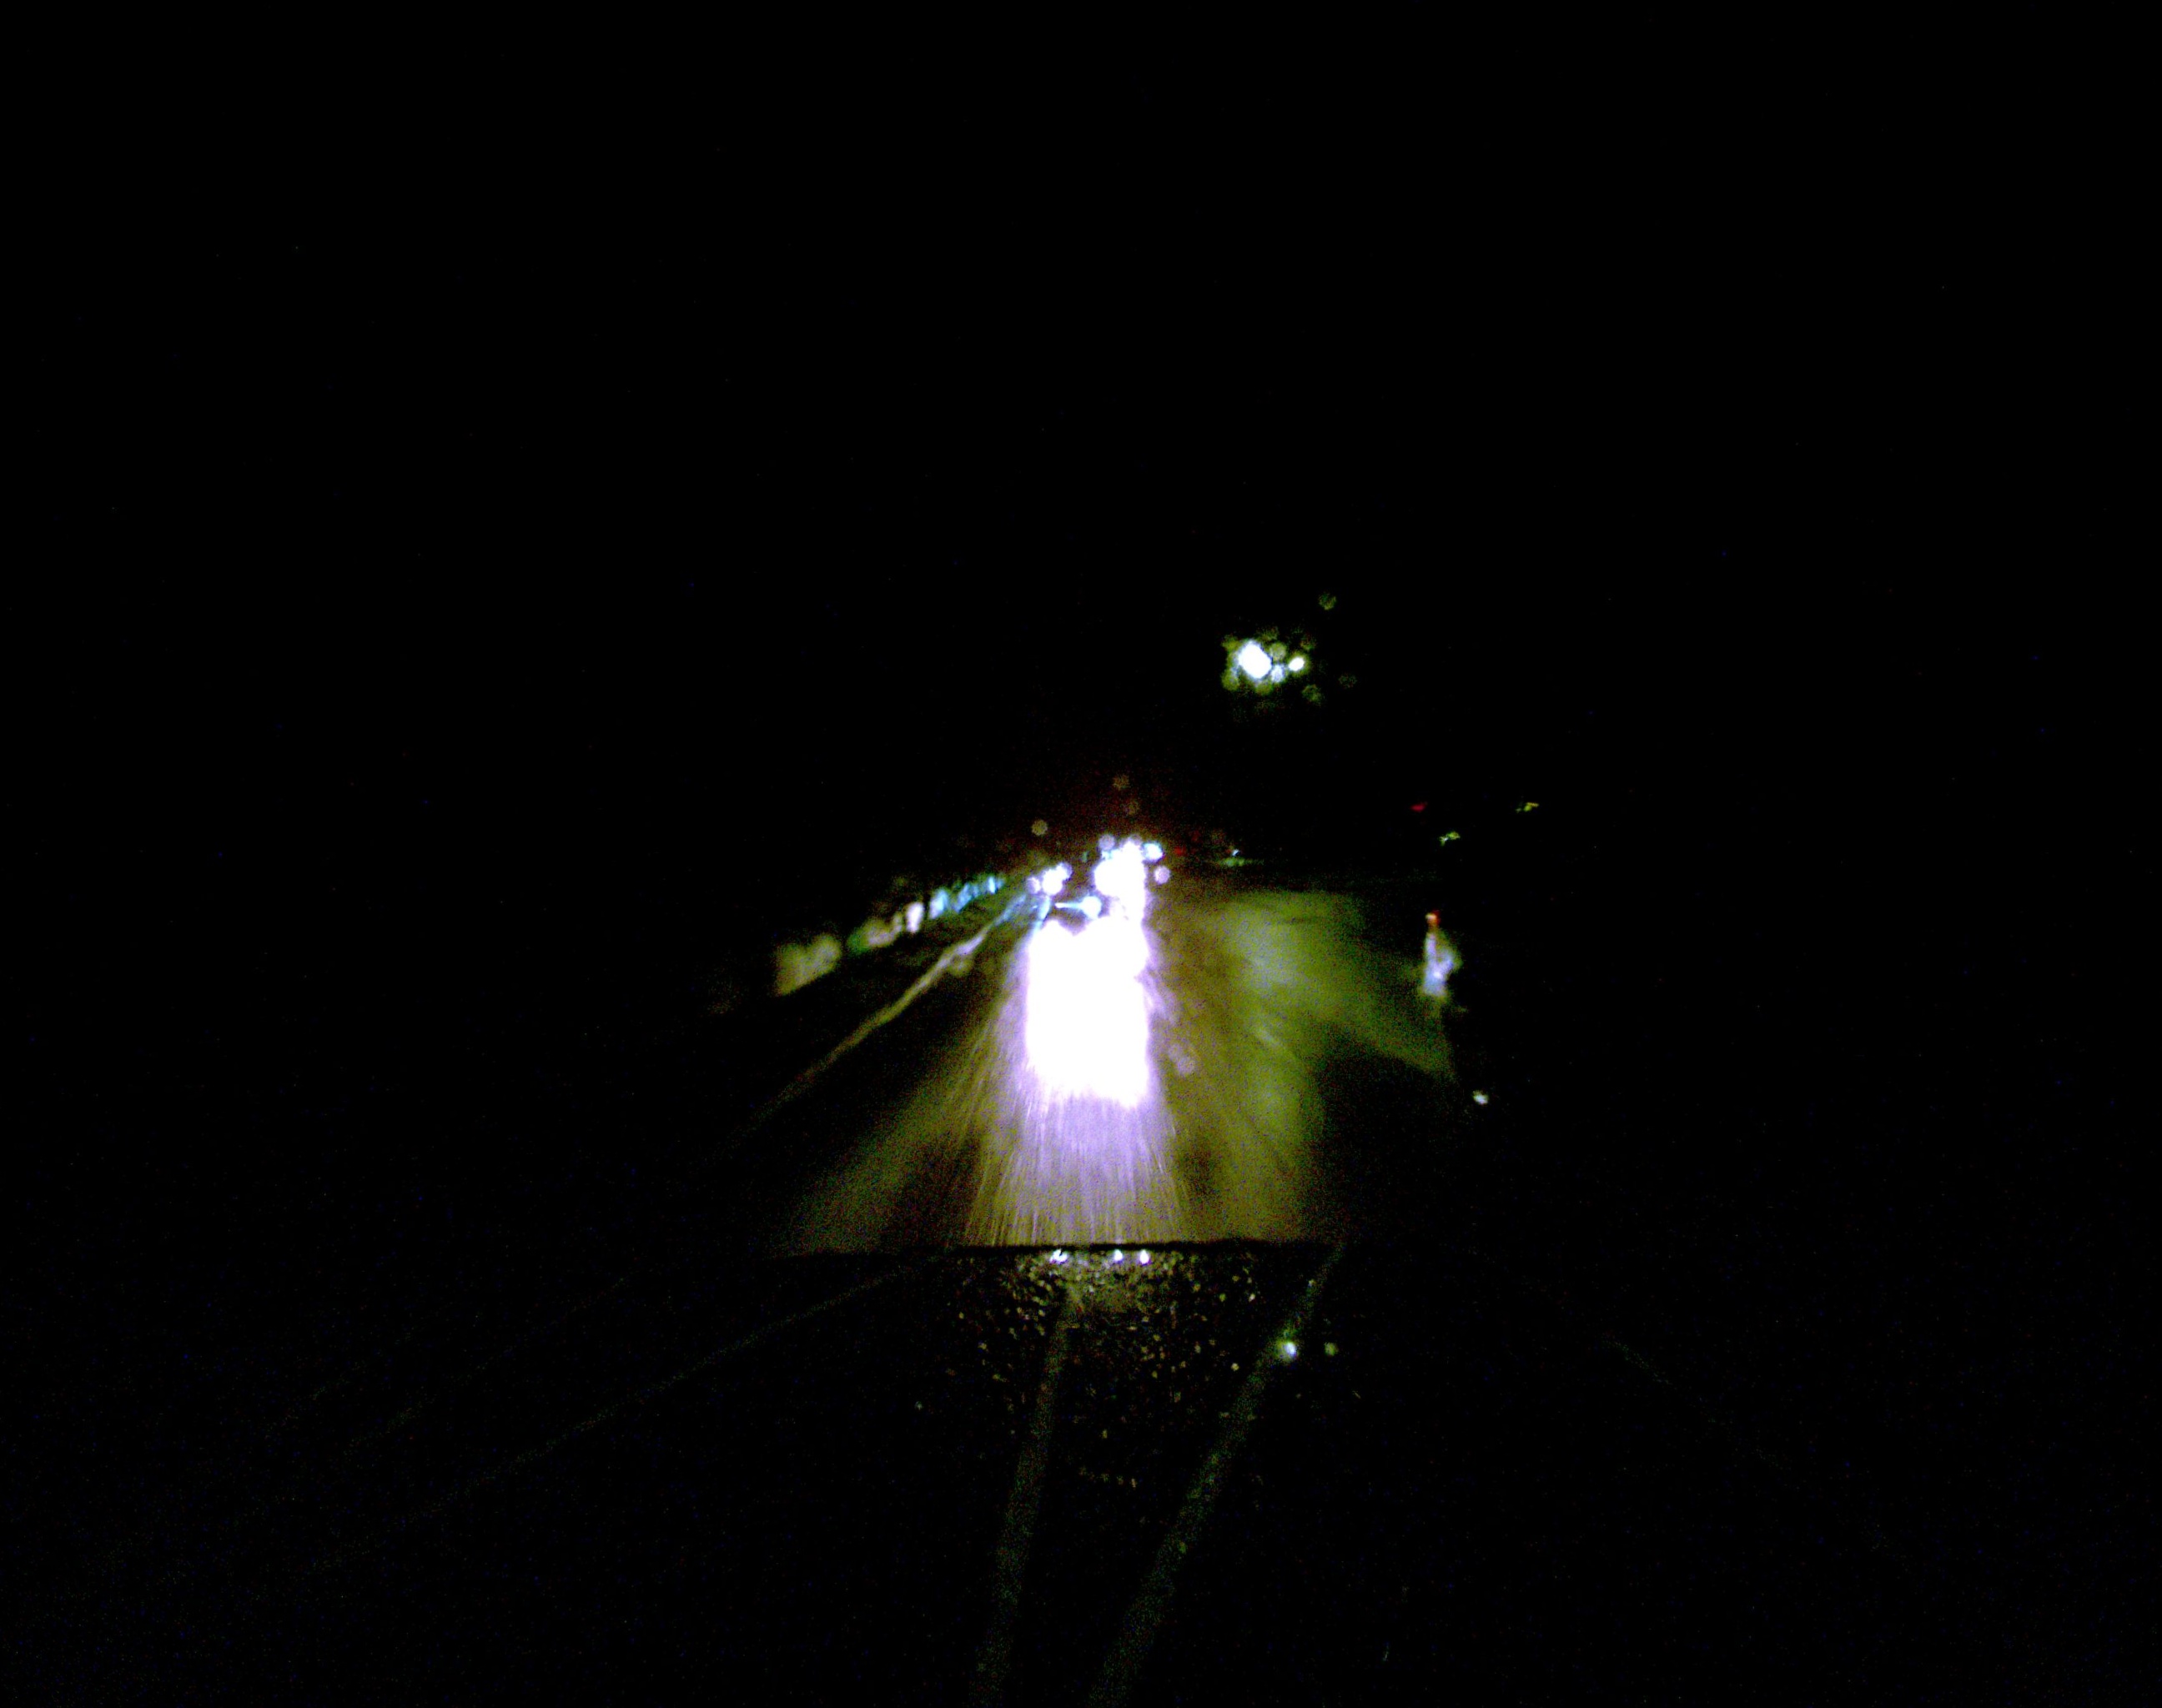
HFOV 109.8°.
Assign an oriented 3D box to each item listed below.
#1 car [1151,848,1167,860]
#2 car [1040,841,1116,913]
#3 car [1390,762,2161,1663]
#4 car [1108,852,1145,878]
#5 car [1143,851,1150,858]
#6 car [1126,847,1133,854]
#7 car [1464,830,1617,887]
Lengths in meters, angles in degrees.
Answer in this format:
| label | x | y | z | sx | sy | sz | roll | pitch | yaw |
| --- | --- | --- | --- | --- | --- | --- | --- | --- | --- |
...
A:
| label | x | y | z | sx | sy | sz | roll | pitch | yaw |
| --- | --- | --- | --- | --- | --- | --- | --- | --- | --- |
| car | 10.611 | -0.006 | 103.705 | 1.658 | 1.490 | 4.374 | 1 | 1 | -1 |
| car | 0.017 | 0.567 | 21.693 | 1.877 | 1.825 | 4.205 | -1 | 1 | 3 |
| car | 2.964 | 0.646 | 2.398 | 1.914 | 1.694 | 4.938 | -1 | 1 | -1 |
| car | 2.882 | 0.665 | 48.749 | 1.999 | 1.456 | 3.998 | -2 | 2 | -2 |
| car | 19.732 | 0.078 | 227.629 | 1.997 | 2.002 | 4.001 | -1 | 2 | 7 |
| car | 11.628 | -0.740 | 181.405 | 1.750 | 1.495 | 4.893 | -1 | 2 | 4 |
| car | 14.345 | 0.096 | 24.127 | 1.797 | 1.562 | 4.912 | -2 | 1 | -1 |
